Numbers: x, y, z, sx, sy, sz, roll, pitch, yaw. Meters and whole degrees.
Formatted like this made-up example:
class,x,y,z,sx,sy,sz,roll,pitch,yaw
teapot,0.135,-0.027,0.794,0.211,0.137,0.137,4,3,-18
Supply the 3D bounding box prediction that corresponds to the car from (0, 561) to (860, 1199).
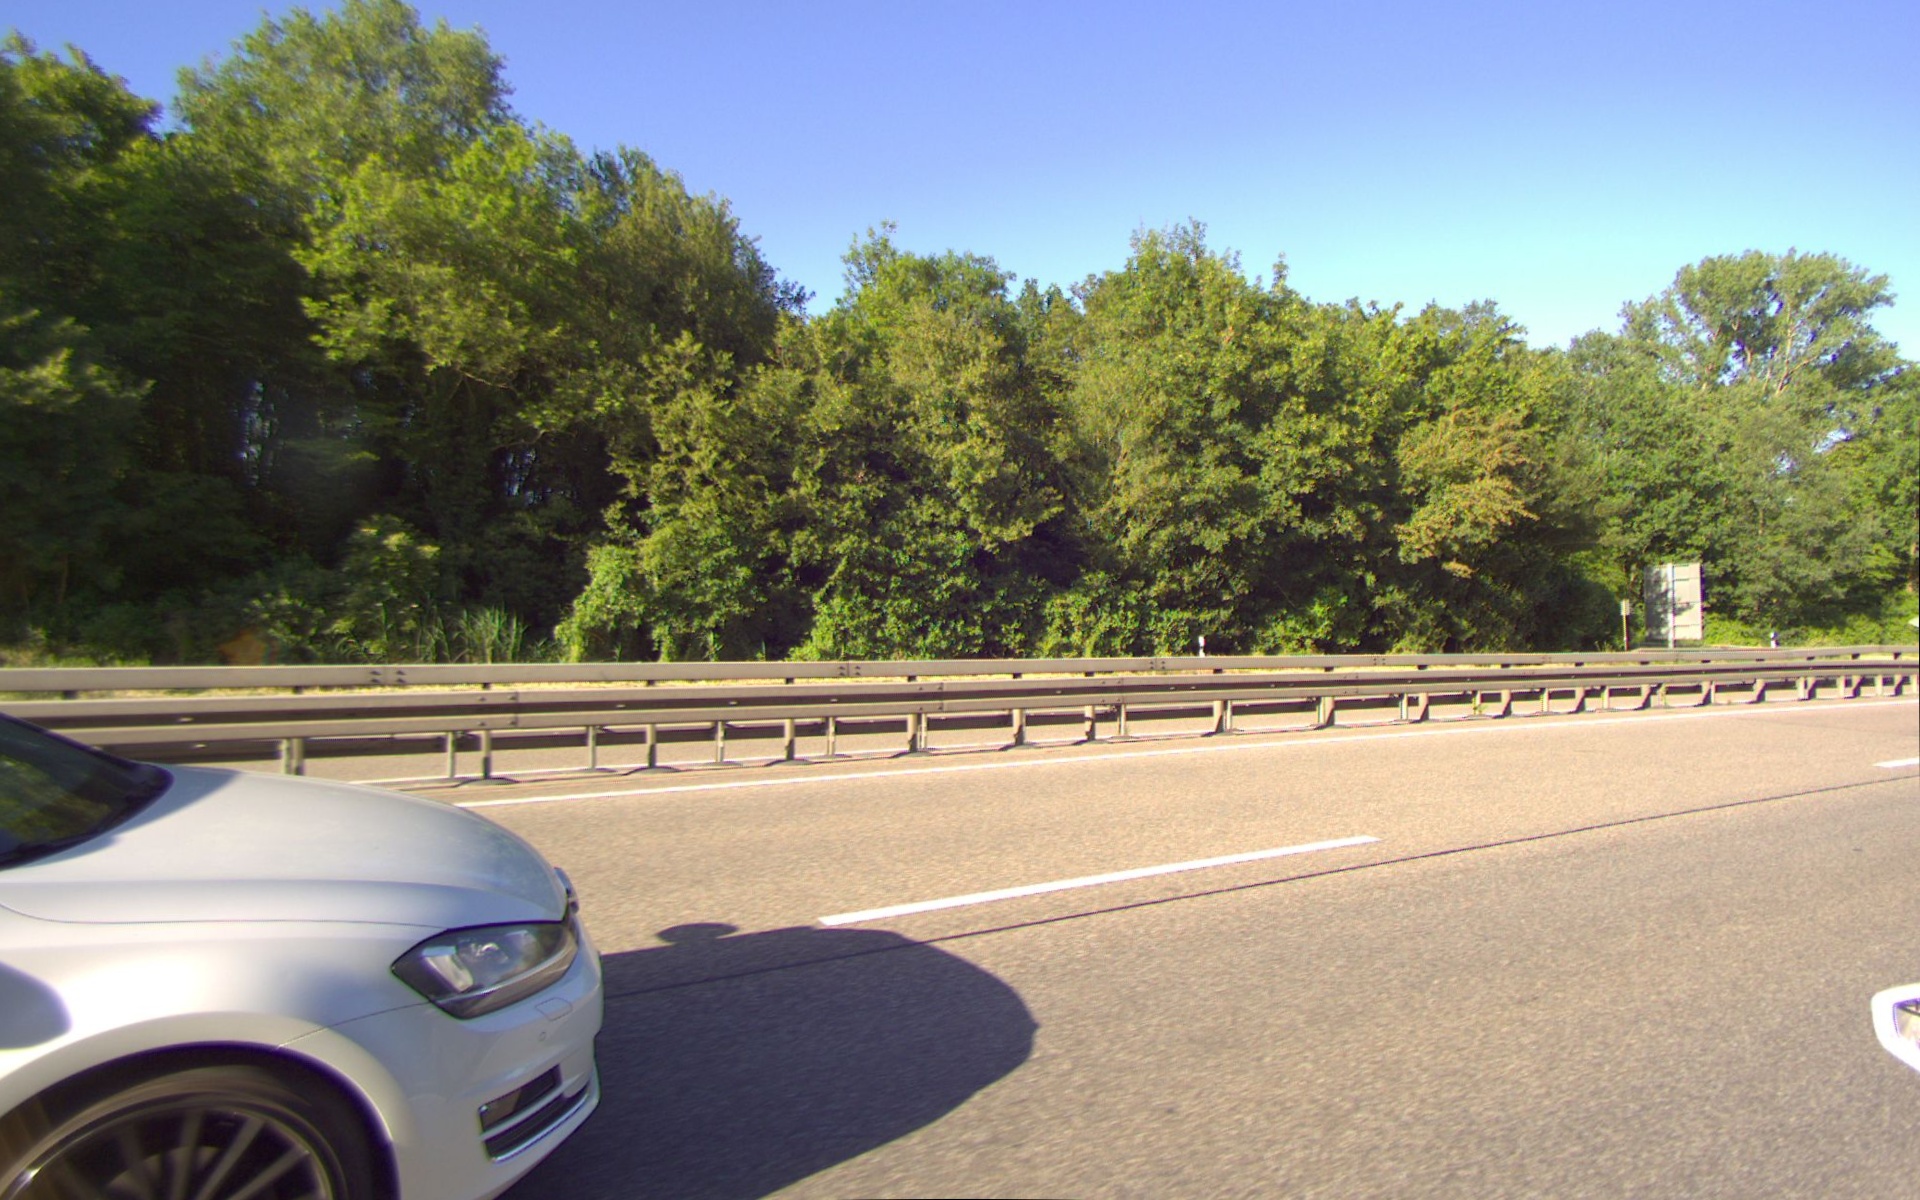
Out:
class,x,y,z,sx,sy,sz,roll,pitch,yaw
car,-3.100,0.666,1.763,5.533,1.528,1.920,1,0,-30
